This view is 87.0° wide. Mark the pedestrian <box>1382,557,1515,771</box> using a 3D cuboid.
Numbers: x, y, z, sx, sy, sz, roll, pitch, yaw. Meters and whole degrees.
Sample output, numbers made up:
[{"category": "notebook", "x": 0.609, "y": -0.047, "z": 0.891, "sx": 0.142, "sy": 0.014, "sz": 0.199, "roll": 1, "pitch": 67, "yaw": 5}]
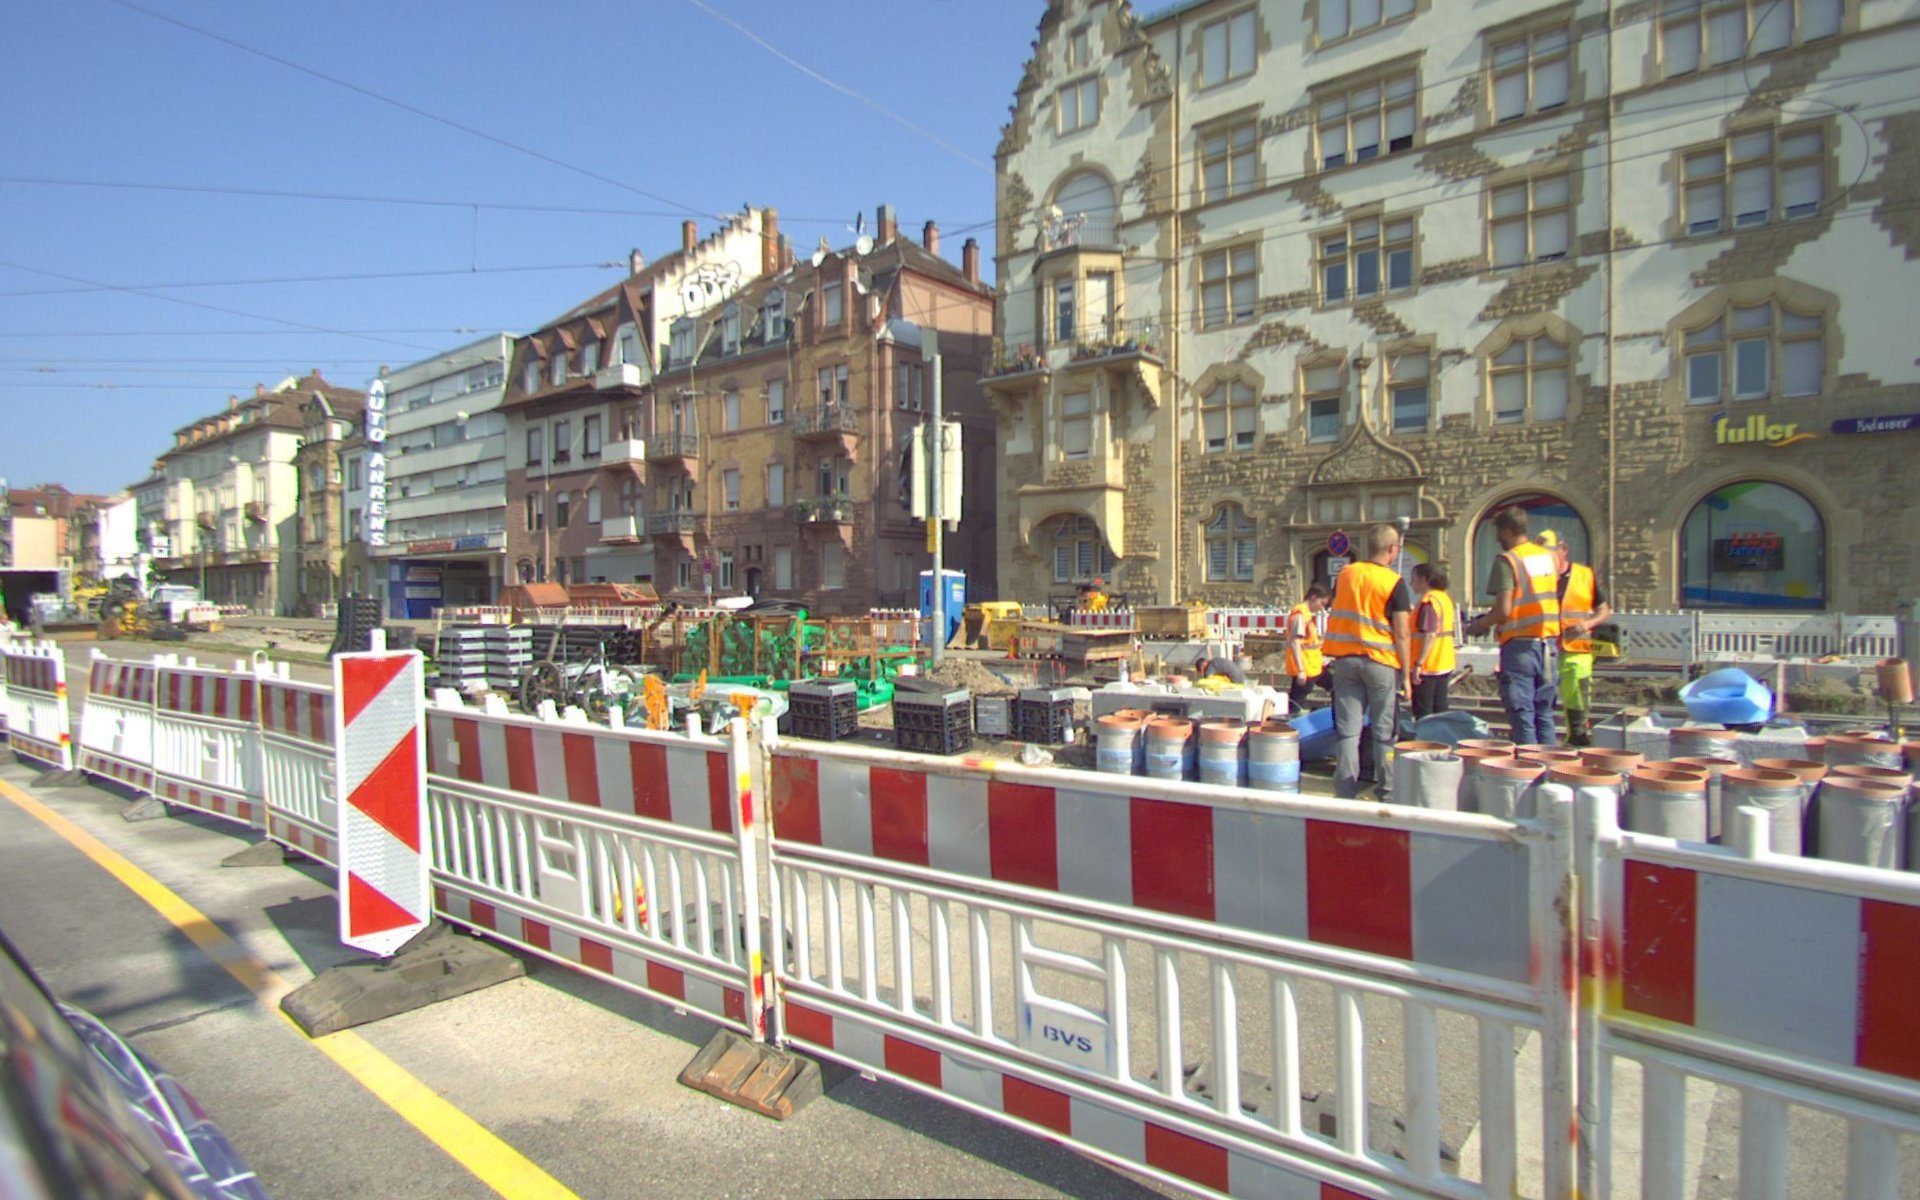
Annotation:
[{"category": "pedestrian", "x": 4.362, "y": 0.552, "z": 9.088, "sx": 0.743, "sy": 1.823, "sz": 0.831, "roll": 0, "pitch": 0, "yaw": -5}]

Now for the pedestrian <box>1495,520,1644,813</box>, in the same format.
[{"category": "pedestrian", "x": 4.222, "y": 0.427, "z": 7.008, "sx": 0.710, "sy": 1.884, "sz": 0.709, "roll": 1, "pitch": 0, "yaw": -42}]

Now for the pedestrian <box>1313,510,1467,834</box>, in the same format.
[{"category": "pedestrian", "x": 2.707, "y": 0.431, "z": 6.438, "sx": 0.676, "sy": 1.941, "sz": 0.714, "roll": 0, "pitch": 0, "yaw": 3}]

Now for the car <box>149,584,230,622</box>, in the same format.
[{"category": "car", "x": -46.359, "y": 0.136, "z": 60.828, "sx": 7.115, "sy": 2.151, "sz": 2.337, "roll": 0, "pitch": 0, "yaw": 40}]

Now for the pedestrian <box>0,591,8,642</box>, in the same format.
[{"category": "pedestrian", "x": -34.368, "y": 0.573, "z": 35.912, "sx": 0.792, "sy": 1.811, "sz": 0.597, "roll": 2, "pitch": -1, "yaw": -41}]

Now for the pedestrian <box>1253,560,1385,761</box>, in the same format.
[{"category": "pedestrian", "x": 3.473, "y": 0.557, "z": 9.821, "sx": 0.816, "sy": 1.830, "sz": 0.887, "roll": 1, "pitch": 0, "yaw": -34}]

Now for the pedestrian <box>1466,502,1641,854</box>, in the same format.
[{"category": "pedestrian", "x": 3.620, "y": 0.450, "z": 6.222, "sx": 0.665, "sy": 2.030, "sz": 0.696, "roll": 0, "pitch": 0, "yaw": 3}]

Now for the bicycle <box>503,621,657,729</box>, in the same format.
[{"category": "bicycle", "x": -4.427, "y": 0.831, "z": 11.748, "sx": 1.960, "sy": 1.107, "sz": 0.558, "roll": 1, "pitch": 2, "yaw": 30}]
